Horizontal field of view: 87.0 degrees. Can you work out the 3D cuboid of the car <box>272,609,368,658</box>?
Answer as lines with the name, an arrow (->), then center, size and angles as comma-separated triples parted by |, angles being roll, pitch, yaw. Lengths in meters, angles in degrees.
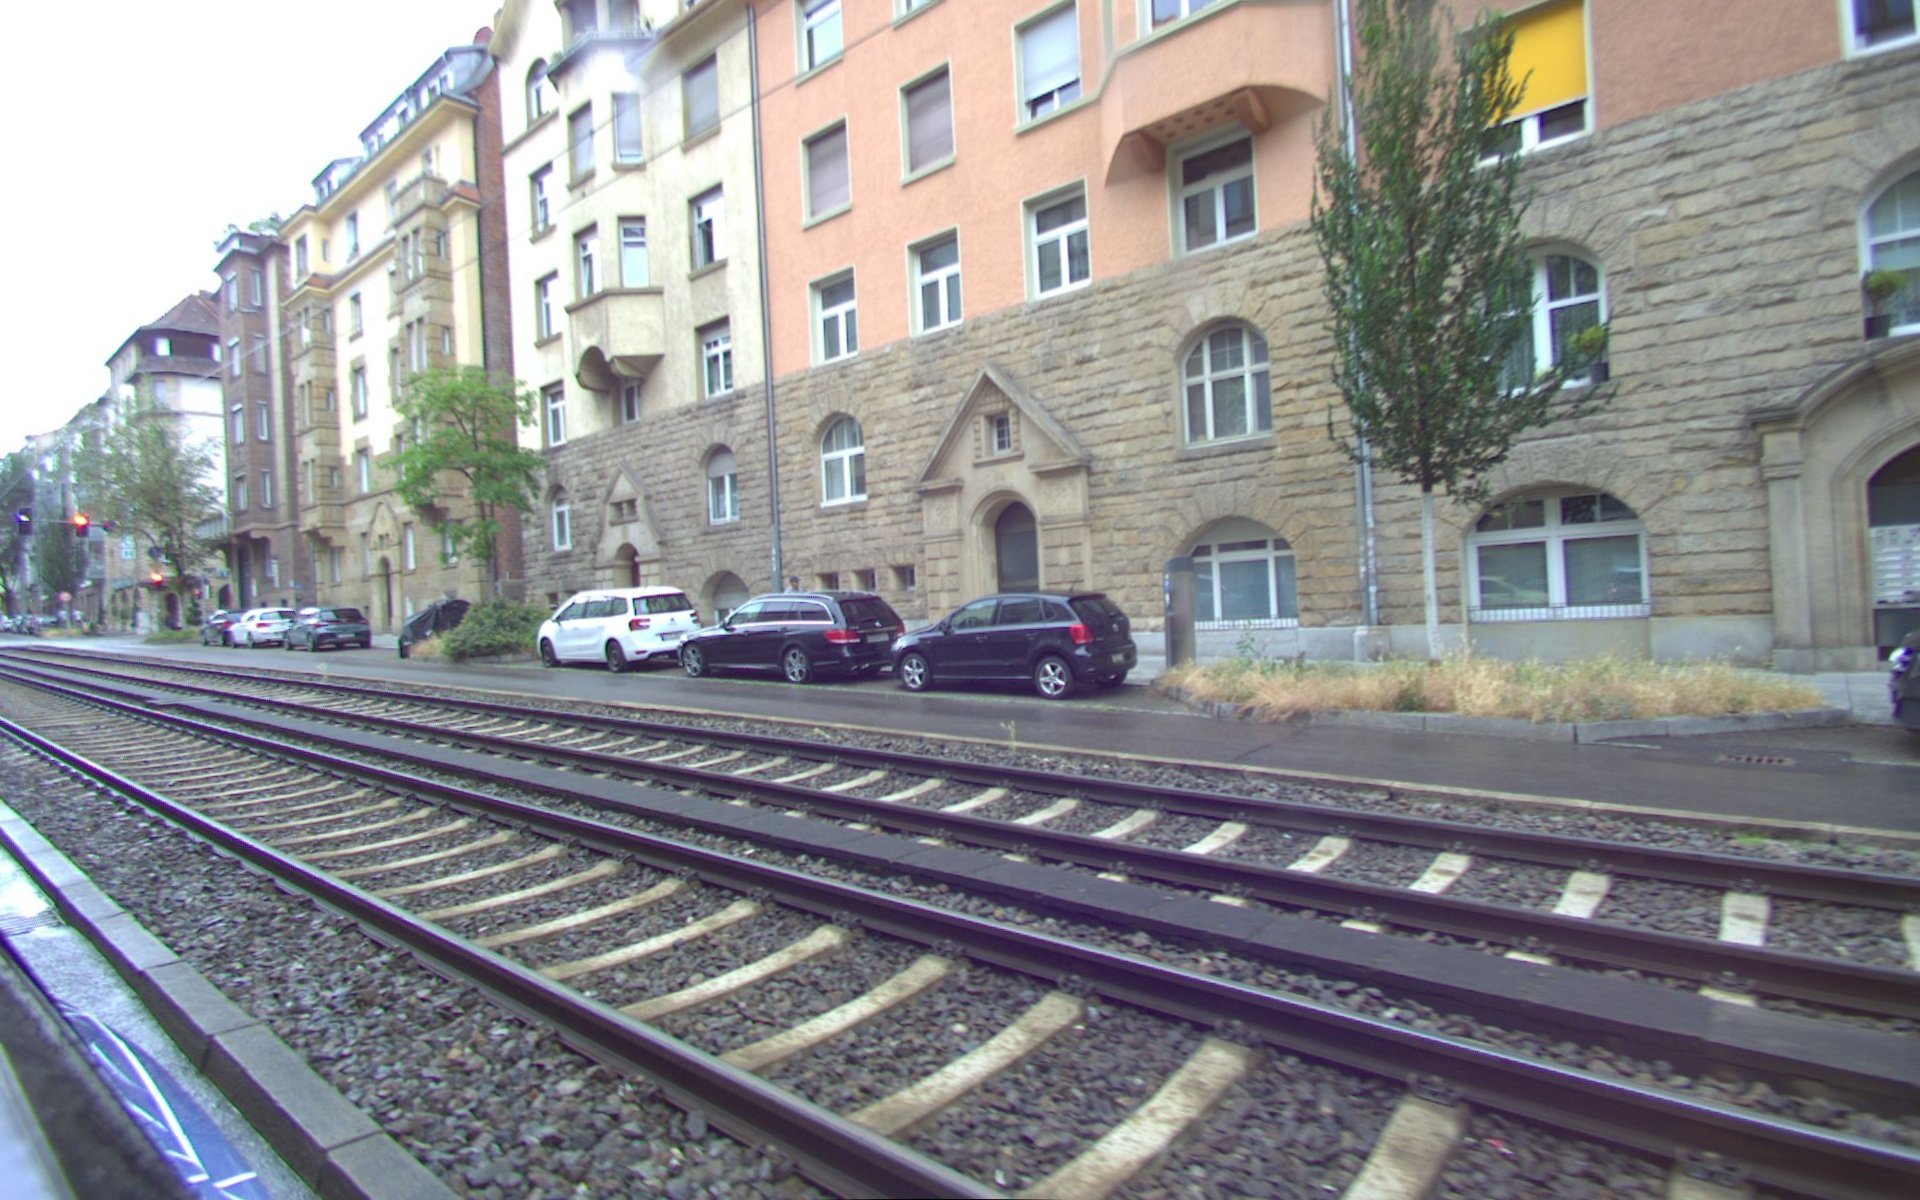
car -> -21.521, 1.091, 33.971 | 4.144, 1.448, 1.545 | -1, 2, 41

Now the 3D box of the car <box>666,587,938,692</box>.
car -> -2.896, 0.644, 17.797 | 4.972, 1.520, 1.973 | -2, 2, 42

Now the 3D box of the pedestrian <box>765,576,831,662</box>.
pedestrian -> -3.469, 0.395, 21.697 | 0.923, 1.767, 0.998 | -2, 0, 37

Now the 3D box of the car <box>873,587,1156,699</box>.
car -> 0.715, 0.582, 14.757 | 3.879, 1.408, 1.626 | -2, 0, 38

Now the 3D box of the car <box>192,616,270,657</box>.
car -> -29.846, 1.452, 41.399 | 3.999, 1.497, 1.746 | 0, 0, 42

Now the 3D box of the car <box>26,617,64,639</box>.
car -> -67.887, 2.102, 75.045 | 3.526, 1.509, 1.787 | -1, 1, 44

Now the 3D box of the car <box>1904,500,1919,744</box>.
car -> 9.721, 0.154, 6.896 | 4.697, 1.916, 1.972 | -1, -1, 42

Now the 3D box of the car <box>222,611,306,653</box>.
car -> -26.053, 1.184, 37.845 | 4.262, 1.436, 1.649 | -1, 0, 42

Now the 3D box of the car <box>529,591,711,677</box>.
car -> -7.306, 0.685, 21.520 | 4.350, 1.601, 1.765 | -1, 1, 43

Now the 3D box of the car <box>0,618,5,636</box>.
car -> -87.279, 2.431, 90.915 | 4.157, 1.581, 1.758 | -1, 0, 41
